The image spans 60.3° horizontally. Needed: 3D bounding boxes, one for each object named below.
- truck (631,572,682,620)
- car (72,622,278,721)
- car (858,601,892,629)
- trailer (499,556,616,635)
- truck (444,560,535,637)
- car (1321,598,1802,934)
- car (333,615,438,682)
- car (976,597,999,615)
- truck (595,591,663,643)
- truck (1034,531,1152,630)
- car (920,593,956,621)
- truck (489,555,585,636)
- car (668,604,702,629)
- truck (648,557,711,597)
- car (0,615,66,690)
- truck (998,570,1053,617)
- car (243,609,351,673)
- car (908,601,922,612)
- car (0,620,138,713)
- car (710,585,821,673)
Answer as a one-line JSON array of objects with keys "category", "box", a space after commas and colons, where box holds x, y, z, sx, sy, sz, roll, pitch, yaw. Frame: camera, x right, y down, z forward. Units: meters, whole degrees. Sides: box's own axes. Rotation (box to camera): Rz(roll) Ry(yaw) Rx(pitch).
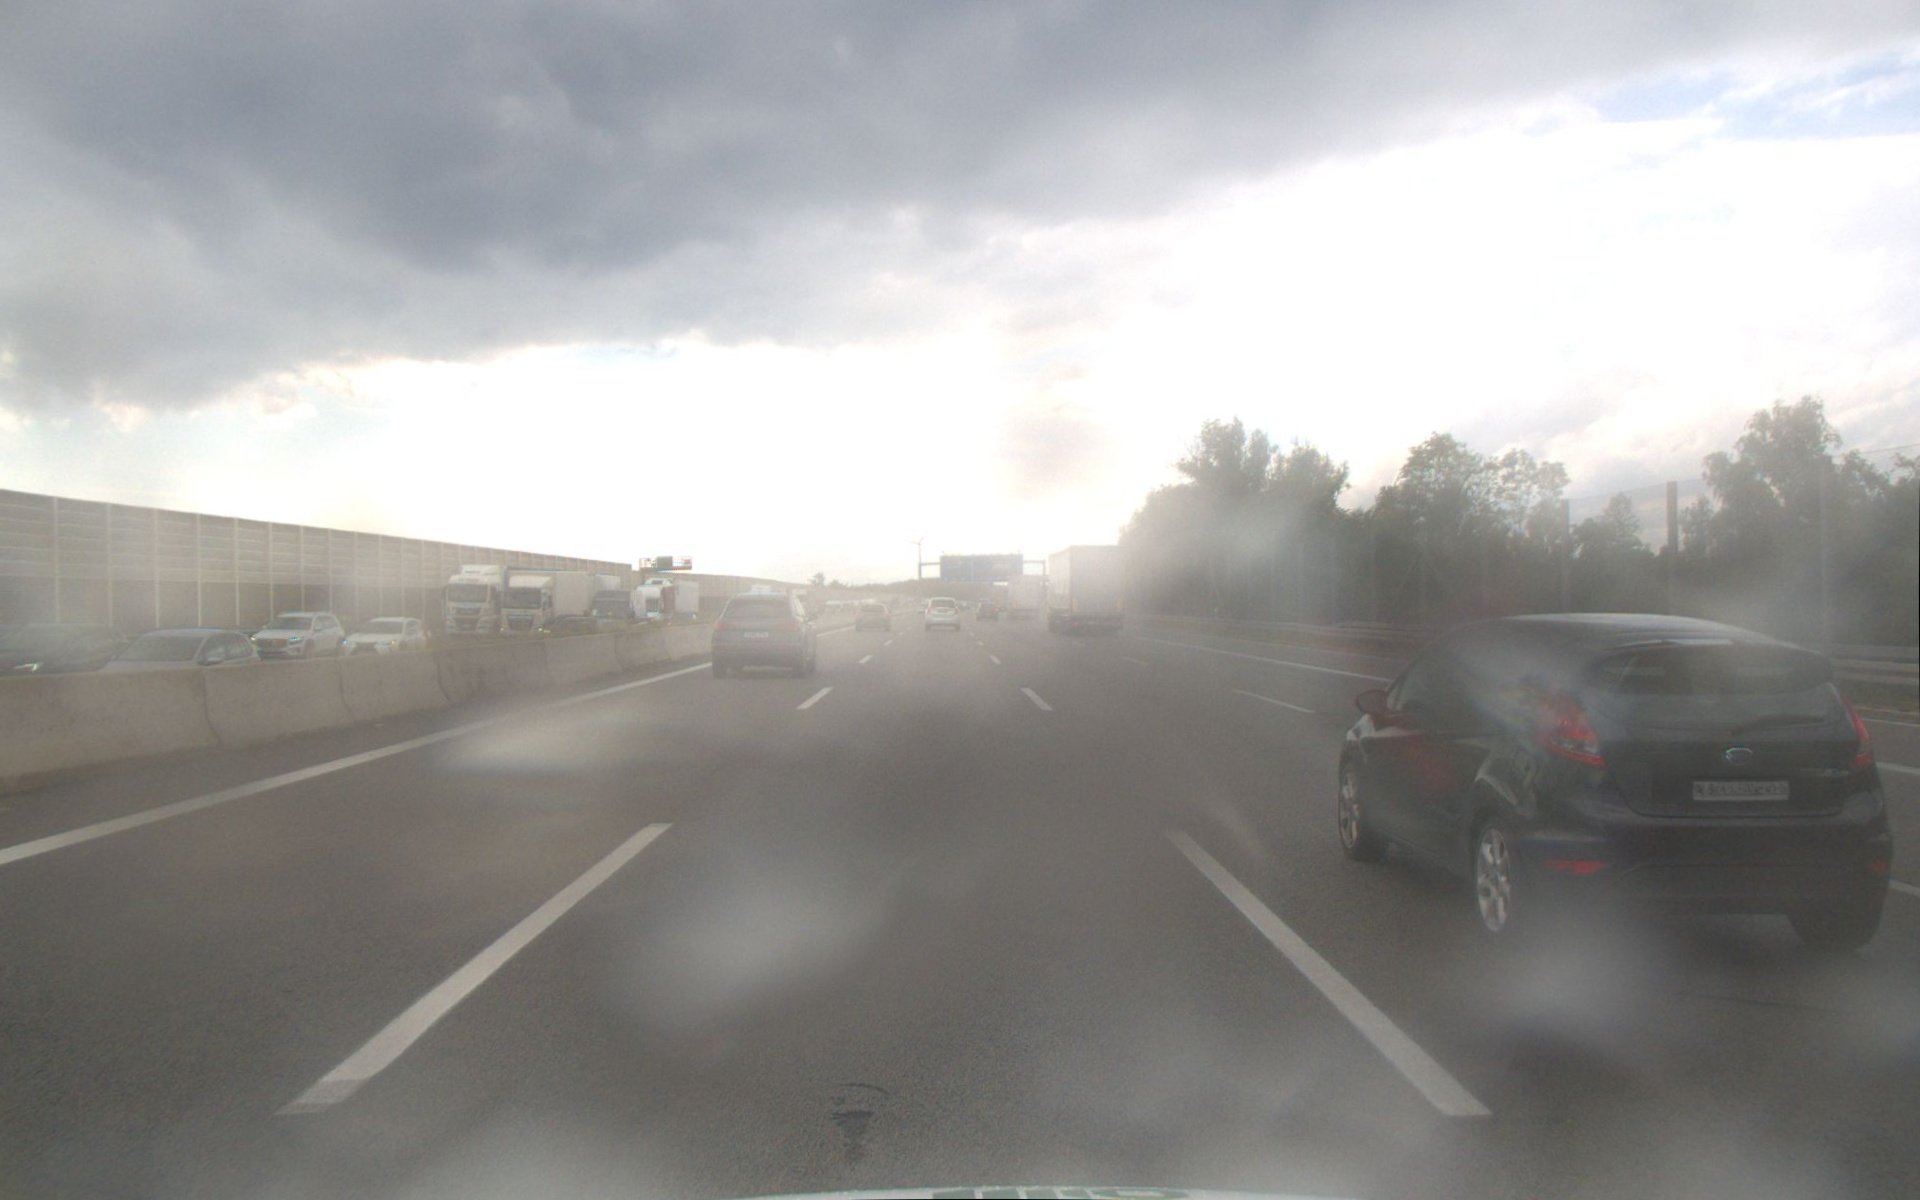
[{"category": "truck", "box": [-22.336, -0.307, 122.012, 2.274, 3.406, 8.352, 1, 0, -1]}, {"category": "car", "box": [-14.602, 1.283, 31.054, 1.884, 1.627, 4.252, -1, 0, -1]}, {"category": "car", "box": [-4.487, 0.762, 87.135, 1.726, 1.393, 5.056, 0, 1, -4]}, {"category": "trailer", "box": [-22.228, -0.285, 92.512, 3.017, 4.003, 14.979, 1, 0, -1]}, {"category": "truck", "box": [-26.532, -0.120, 93.718, 2.655, 4.146, 8.913, 1, 0, -1]}, {"category": "car", "box": [3.029, 0.737, 8.954, 1.417, 1.466, 3.163, 0, 0, -1]}, {"category": "car", "box": [-18.155, 1.494, 52.495, 1.884, 1.939, 4.252, -1, 0, -1]}, {"category": "car", "box": [2.339, 0.489, 142.554, 1.799, 1.466, 4.054, 0, 1, -2]}, {"category": "truck", "box": [-15.105, 0.742, 75.827, 1.953, 2.250, 5.923, 1, 0, -1]}, {"category": "truck", "box": [6.214, -0.924, 80.211, 4.096, 4.363, 12.606, 1, 0, -3]}, {"category": "car", "box": [-1.219, 0.347, 90.439, 1.737, 1.466, 4.052, 0, 1, -4]}, {"category": "truck", "box": [-22.128, -0.242, 87.024, 3.017, 4.003, 8.052, 1, 0, -1]}, {"category": "car", "box": [-18.274, 1.062, 110.159, 1.629, 1.561, 3.887, 1, 0, -1]}, {"category": "truck", "box": [-25.688, -2.089, 152.299, 3.200, 3.410, 16.082, 1, 0, -1]}, {"category": "car", "box": [-22.265, 1.197, 37.350, 1.884, 1.627, 4.252, -1, 0, -1]}, {"category": "truck", "box": [6.037, -0.639, 155.374, 4.158, 4.249, 11.984, 1, 0, -2]}, {"category": "car", "box": [-21.776, 1.312, 54.488, 1.884, 1.939, 4.252, -1, 0, -1]}, {"category": "car", "box": [-5.907, 0.871, 218.076, 1.737, 1.466, 3.871, 0, 1, -4]}, {"category": "car", "box": [-18.289, 1.269, 32.815, 1.884, 1.627, 4.252, -1, 0, -1]}, {"category": "car", "box": [-4.014, 0.547, 34.922, 1.870, 1.720, 5.167, 0, 0, -2]}]
